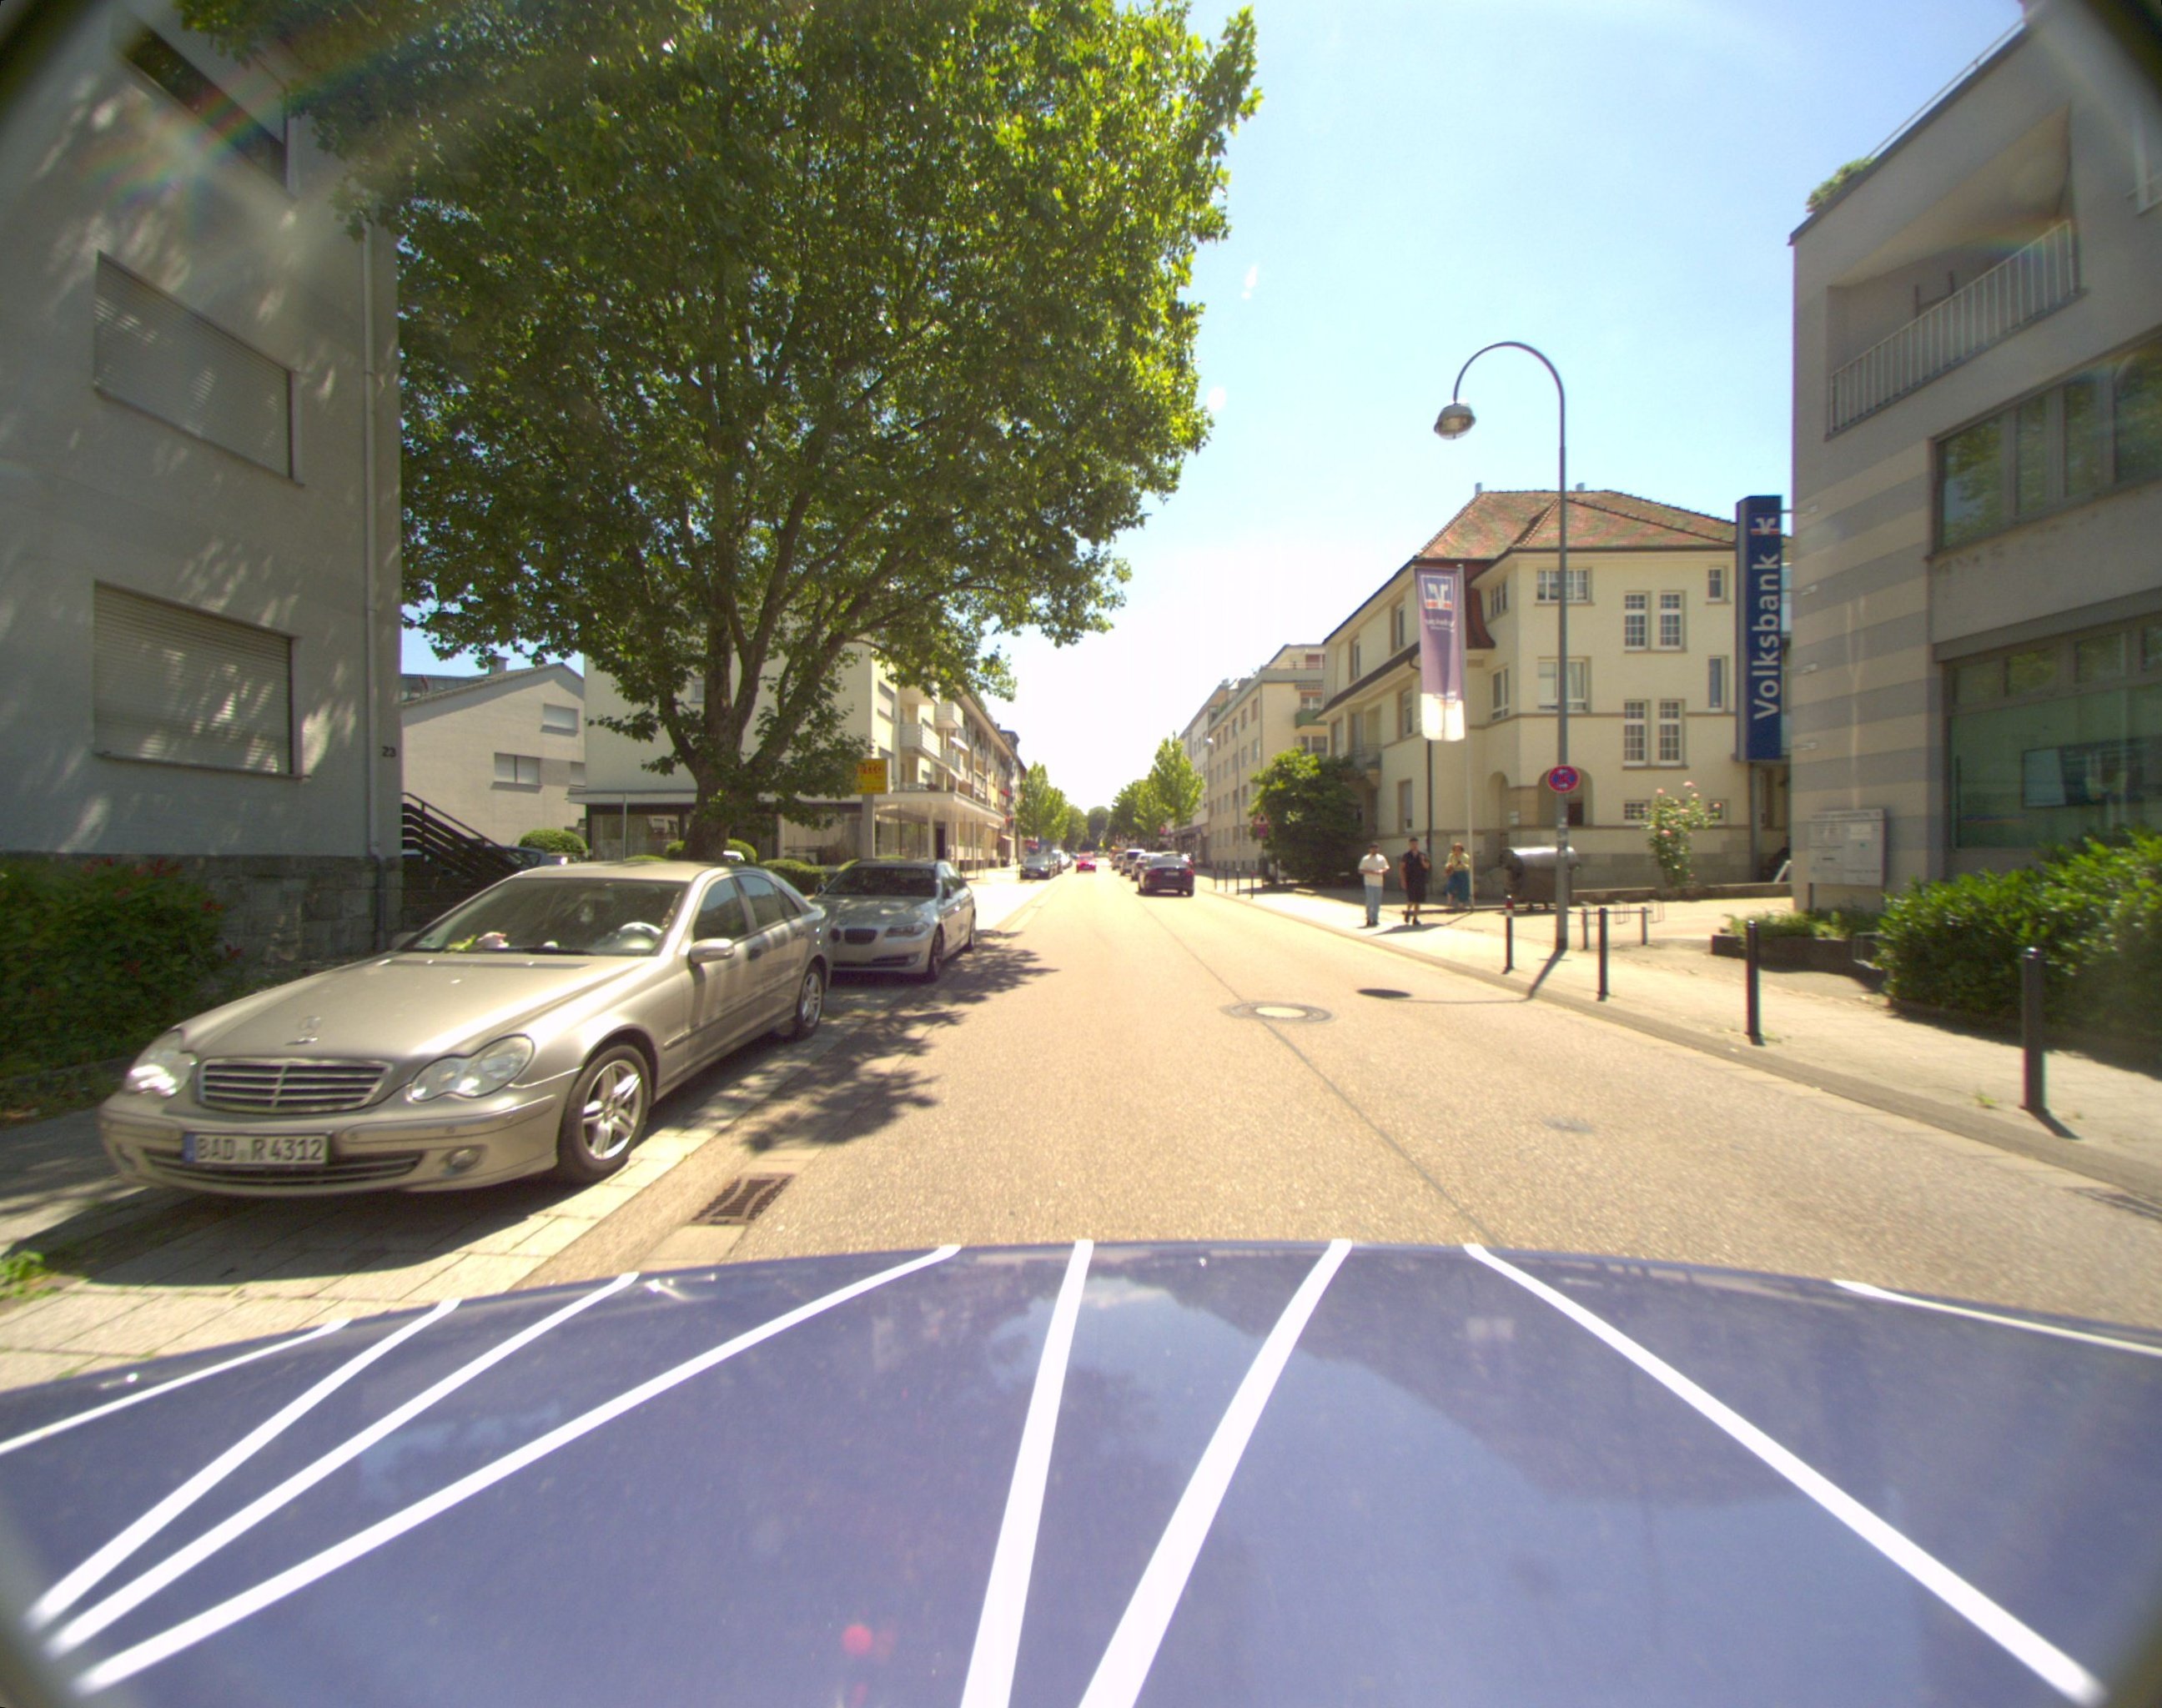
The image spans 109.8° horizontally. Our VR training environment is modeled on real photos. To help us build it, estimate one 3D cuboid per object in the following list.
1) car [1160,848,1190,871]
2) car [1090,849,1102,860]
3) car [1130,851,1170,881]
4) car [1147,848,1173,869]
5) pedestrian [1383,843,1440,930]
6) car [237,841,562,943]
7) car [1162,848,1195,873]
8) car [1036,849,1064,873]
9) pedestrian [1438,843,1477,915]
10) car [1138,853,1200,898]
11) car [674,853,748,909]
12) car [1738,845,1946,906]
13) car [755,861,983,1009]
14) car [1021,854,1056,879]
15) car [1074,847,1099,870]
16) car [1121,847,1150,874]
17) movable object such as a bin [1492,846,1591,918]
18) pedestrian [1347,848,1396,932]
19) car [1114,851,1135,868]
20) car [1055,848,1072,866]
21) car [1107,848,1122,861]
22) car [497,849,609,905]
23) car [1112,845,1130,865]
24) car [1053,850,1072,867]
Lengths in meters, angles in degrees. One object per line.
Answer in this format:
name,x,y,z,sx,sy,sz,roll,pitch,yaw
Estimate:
car,7.262,0.389,59.118,1.732,1.661,4.293,-1,0,-1
car,2.183,0.126,112.031,1.698,1.594,3.812,0,0,0
car,3.741,0.616,41.525,1.834,1.502,4.031,0,0,0
car,6.740,0.376,65.142,1.731,1.661,4.294,-1,0,0
pedestrian,6.873,0.658,15.829,0.750,1.760,0.951,-1,1,0
car,-11.813,0.563,13.612,1.687,1.534,4.102,0,0,12
car,6.755,0.425,52.952,1.731,1.661,4.294,-1,0,0
car,-2.256,0.473,56.628,1.731,1.752,4.115,0,0,2
pedestrian,8.922,0.578,18.030,0.541,1.665,0.735,0,1,0
car,3.234,0.747,28.653,1.834,1.502,4.262,1,1,0
car,-10.995,0.725,22.468,1.740,1.491,3.454,0,1,-30
car,21.453,0.596,21.575,3.875,1.570,1.795,-2,0,7
car,-2.606,0.899,10.608,1.834,1.502,4.759,-1,0,0
car,-2.497,0.709,45.847,1.818,1.379,4.114,2,0,0
car,0.477,0.355,64.461,2.000,1.880,4.294,-2,0,0
car,3.777,0.417,53.469,1.706,1.815,4.231,1,0,0
movable object such as a bin,10.305,0.600,17.084,1.390,1.479,1.294,-3,1,1
pedestrian,6.042,0.724,15.841,0.622,1.667,0.903,-3,1,0
car,4.043,0.483,71.085,1.731,1.500,4.294,1,0,0
car,-1.817,0.265,80.277,1.731,1.861,4.114,0,0,0
car,4.891,0.111,112.332,2.000,1.880,4.294,1,0,0
car,-15.893,0.629,23.070,1.739,1.491,3.624,-2,1,-17
car,4.499,0.082,85.584,1.731,2.154,4.294,1,0,0
car,-1.827,0.399,75.486,1.731,1.680,4.114,0,0,0
